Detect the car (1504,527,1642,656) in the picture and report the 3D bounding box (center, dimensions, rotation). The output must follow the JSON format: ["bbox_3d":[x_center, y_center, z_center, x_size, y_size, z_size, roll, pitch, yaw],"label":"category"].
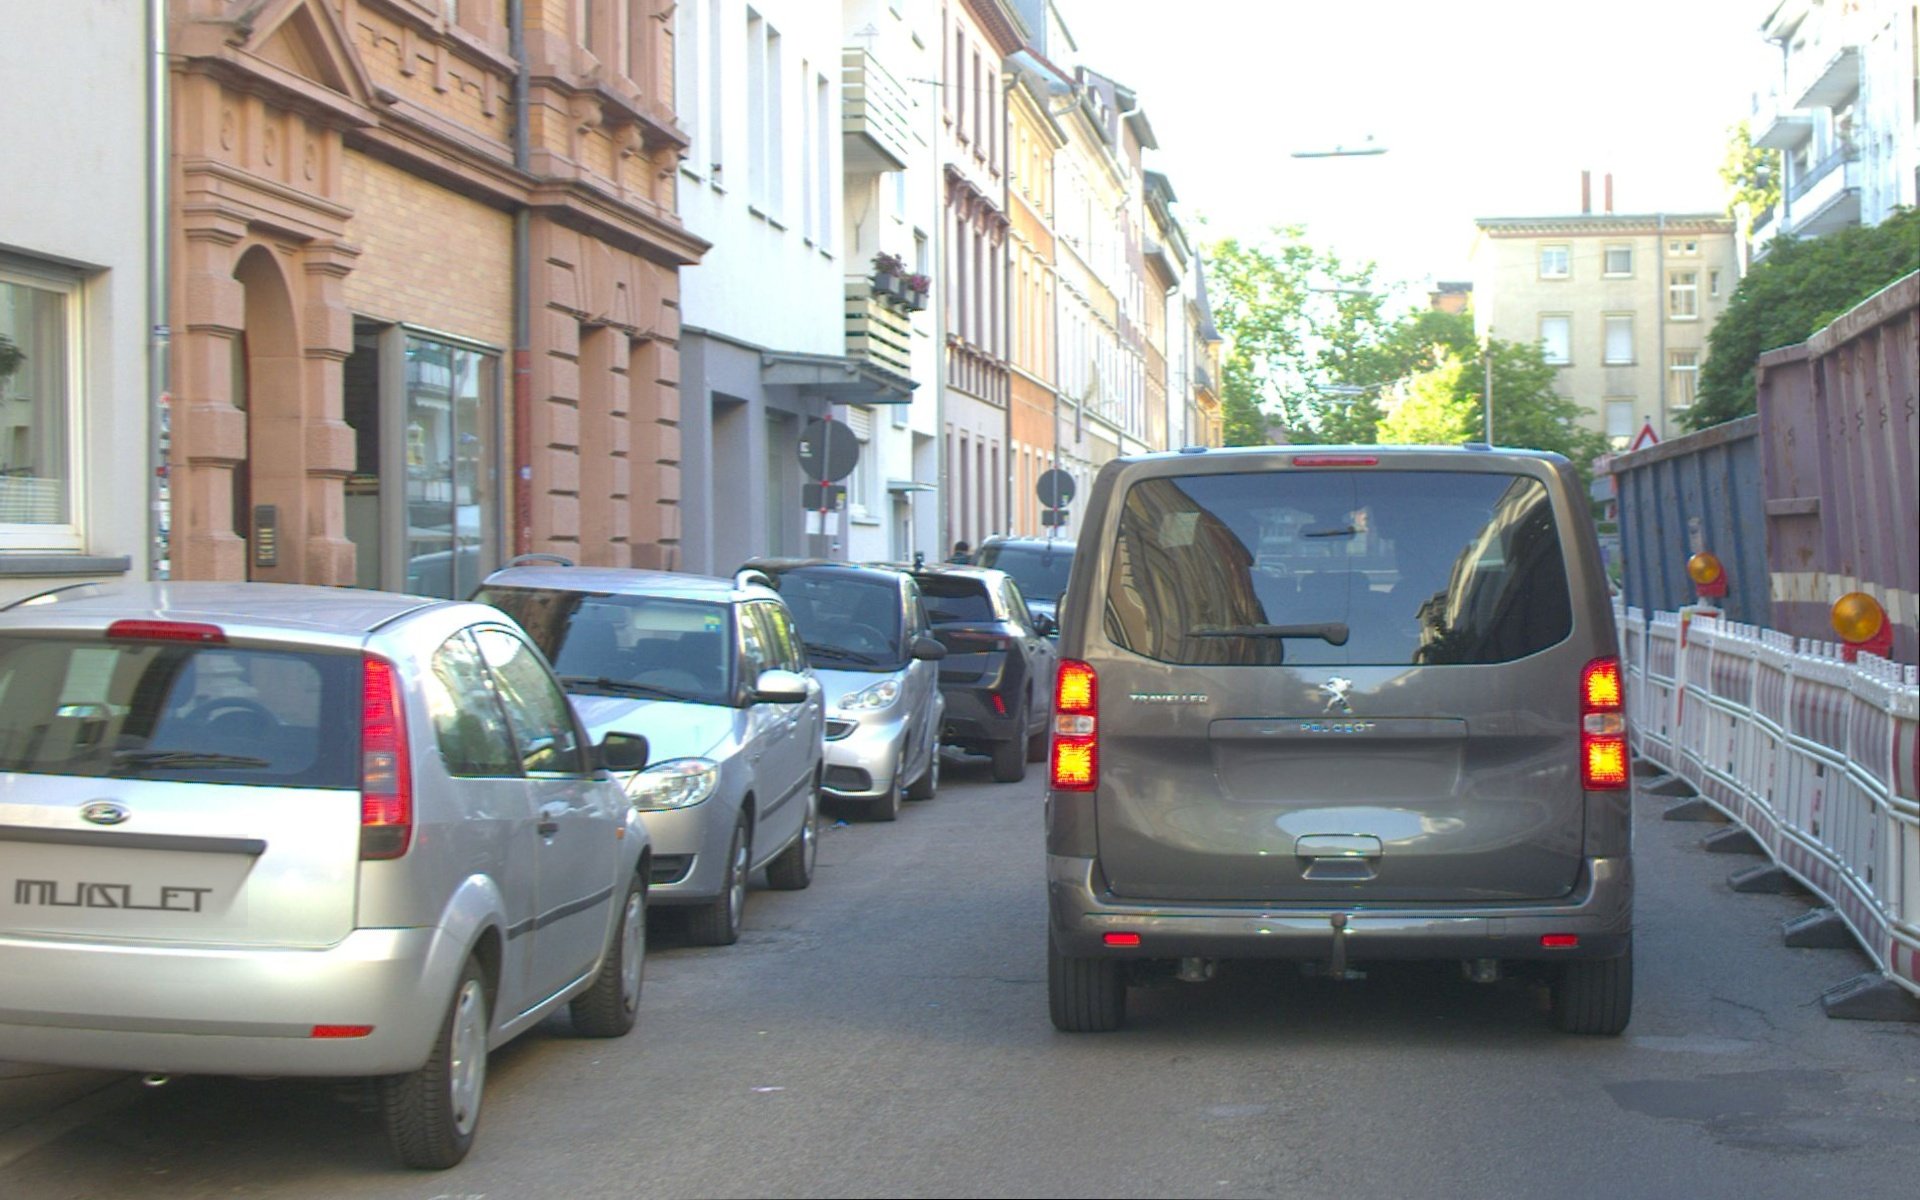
[{"bbox_3d":[8.440,-0.158,47.620,1.749,1.677,4.524,1,1,9],"label":"car"}]

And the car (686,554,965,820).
[{"bbox_3d":[-0.813,0.509,22.166,1.396,1.583,2.793,0,1,6],"label":"car"}]

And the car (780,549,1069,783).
[{"bbox_3d":[-0.190,0.425,25.960,1.740,1.594,4.014,0,1,6],"label":"car"}]

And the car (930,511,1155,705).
[{"bbox_3d":[0.916,0.021,35.090,1.994,1.852,4.584,0,1,5],"label":"car"}]

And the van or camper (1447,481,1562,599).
[{"bbox_3d":[12.713,-1.415,80.674,2.100,2.593,7.511,-1,1,5],"label":"van or camper"}]

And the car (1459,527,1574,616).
[{"bbox_3d":[10.445,-0.557,64.739,1.722,1.606,4.588,0,1,4],"label":"car"}]

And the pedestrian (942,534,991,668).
[{"bbox_3d":[0.081,0.005,42.391,0.495,1.633,0.665,1,1,7],"label":"pedestrian"}]

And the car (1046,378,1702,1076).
[{"bbox_3d":[1.422,0.339,12.168,1.858,2.007,3.999,-2,1,6],"label":"car"}]

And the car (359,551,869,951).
[{"bbox_3d":[-1.436,0.572,15.515,1.555,1.503,3.597,2,1,6],"label":"car"}]

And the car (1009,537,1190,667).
[{"bbox_3d":[1.844,-0.012,44.462,1.670,1.480,3.604,5,2,11],"label":"car"}]

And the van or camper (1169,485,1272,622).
[{"bbox_3d":[5.409,-0.992,71.172,1.949,2.640,7.140,-2,1,5],"label":"van or camper"}]

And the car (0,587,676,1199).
[{"bbox_3d":[-1.938,0.708,10.023,1.632,1.425,3.555,0,1,5],"label":"car"}]

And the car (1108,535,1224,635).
[{"bbox_3d":[3.311,-0.263,54.884,1.657,1.443,3.285,3,1,5],"label":"car"}]
